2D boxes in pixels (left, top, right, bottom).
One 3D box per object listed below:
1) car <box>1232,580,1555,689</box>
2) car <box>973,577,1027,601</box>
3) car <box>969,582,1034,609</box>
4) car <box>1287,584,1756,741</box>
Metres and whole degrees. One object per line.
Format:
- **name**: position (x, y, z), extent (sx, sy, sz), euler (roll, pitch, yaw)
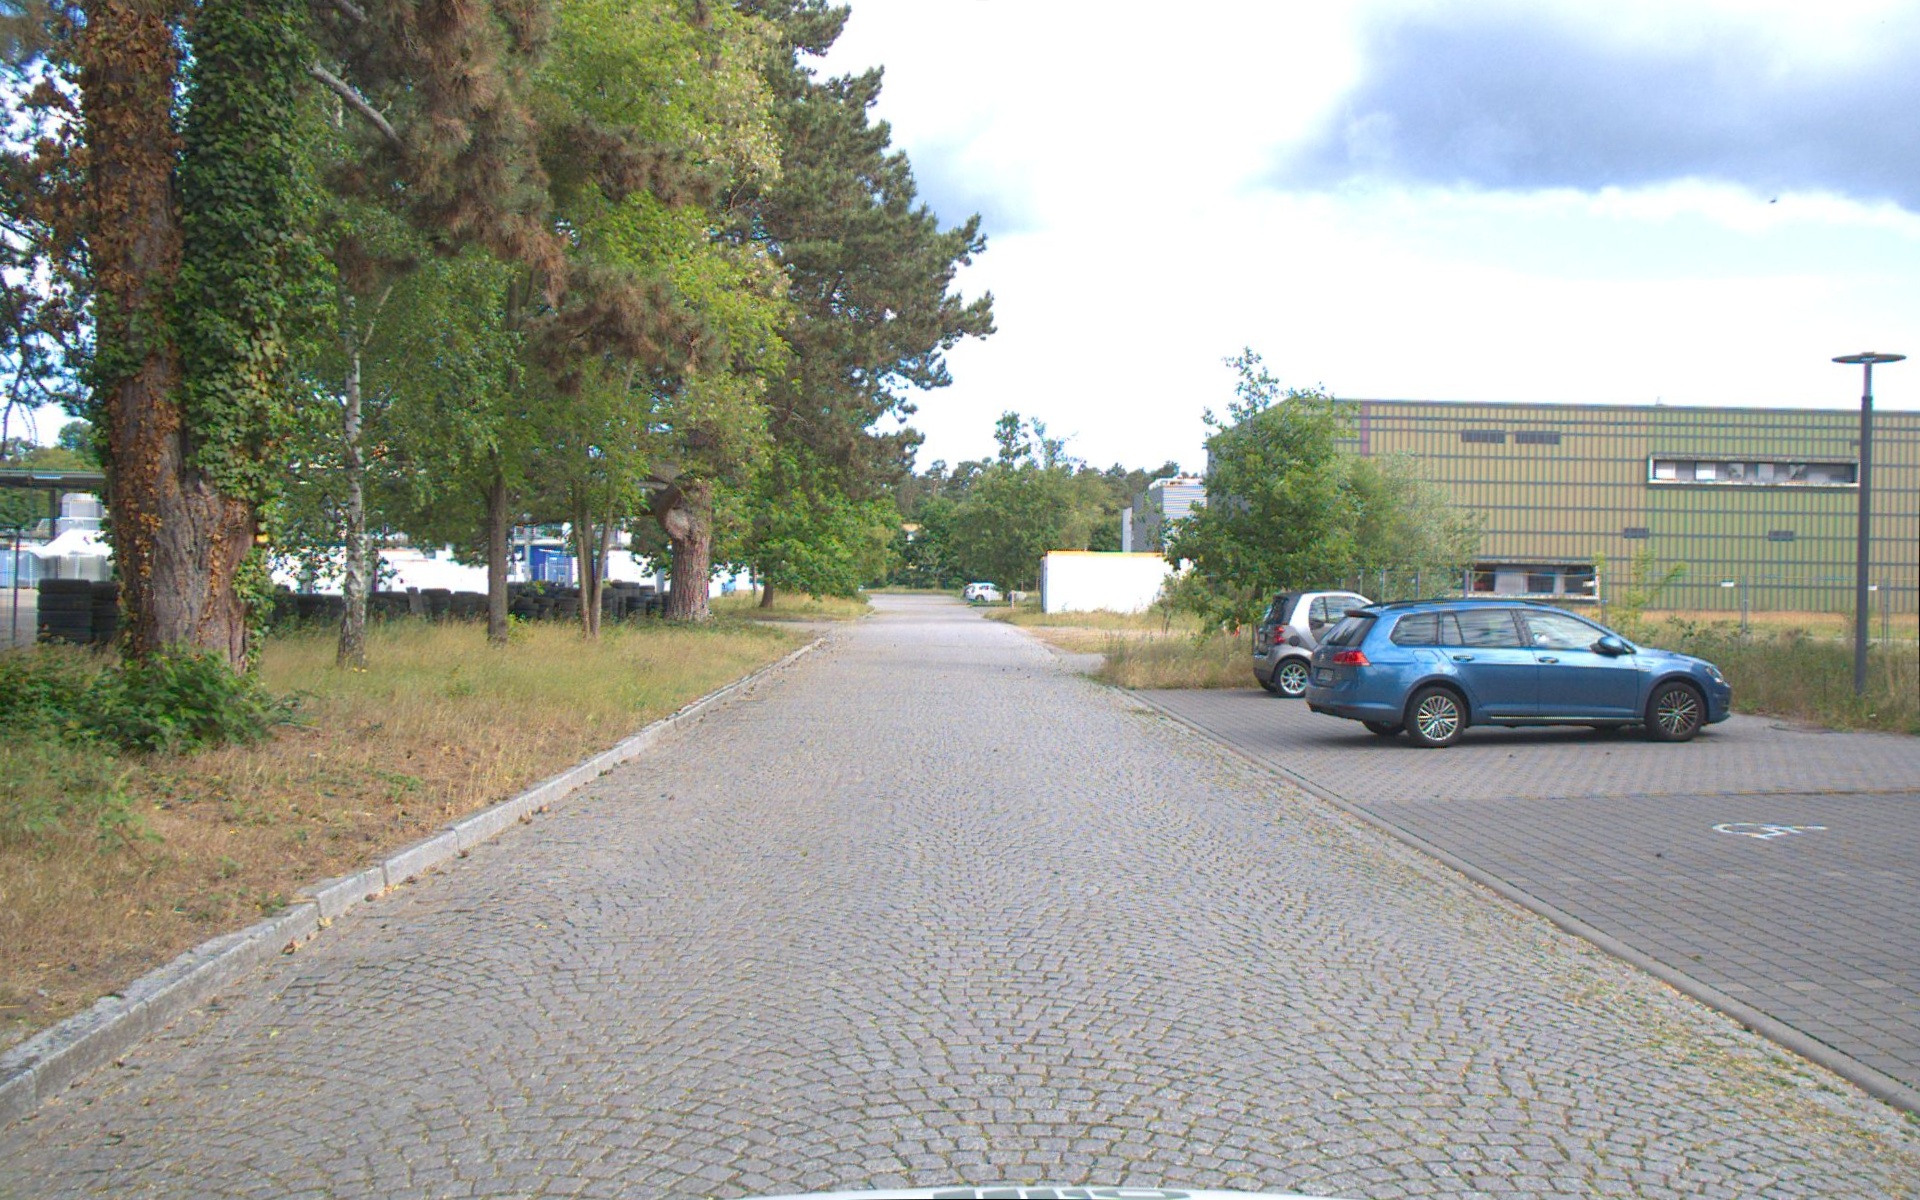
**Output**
- **car**: position (6.567, 0.494, 25.395), extent (4.426, 1.558, 2.000), euler (-1, 1, -1)
- **car**: position (3.157, -0.911, 132.512), extent (4.265, 1.811, 1.925), euler (1, 0, 0)
- **car**: position (2.782, -0.315, 111.505), extent (4.267, 1.717, 1.924), euler (1, 0, -3)
- **car**: position (6.003, 0.623, 18.018), extent (4.429, 1.558, 1.998), euler (-1, 1, -5)
